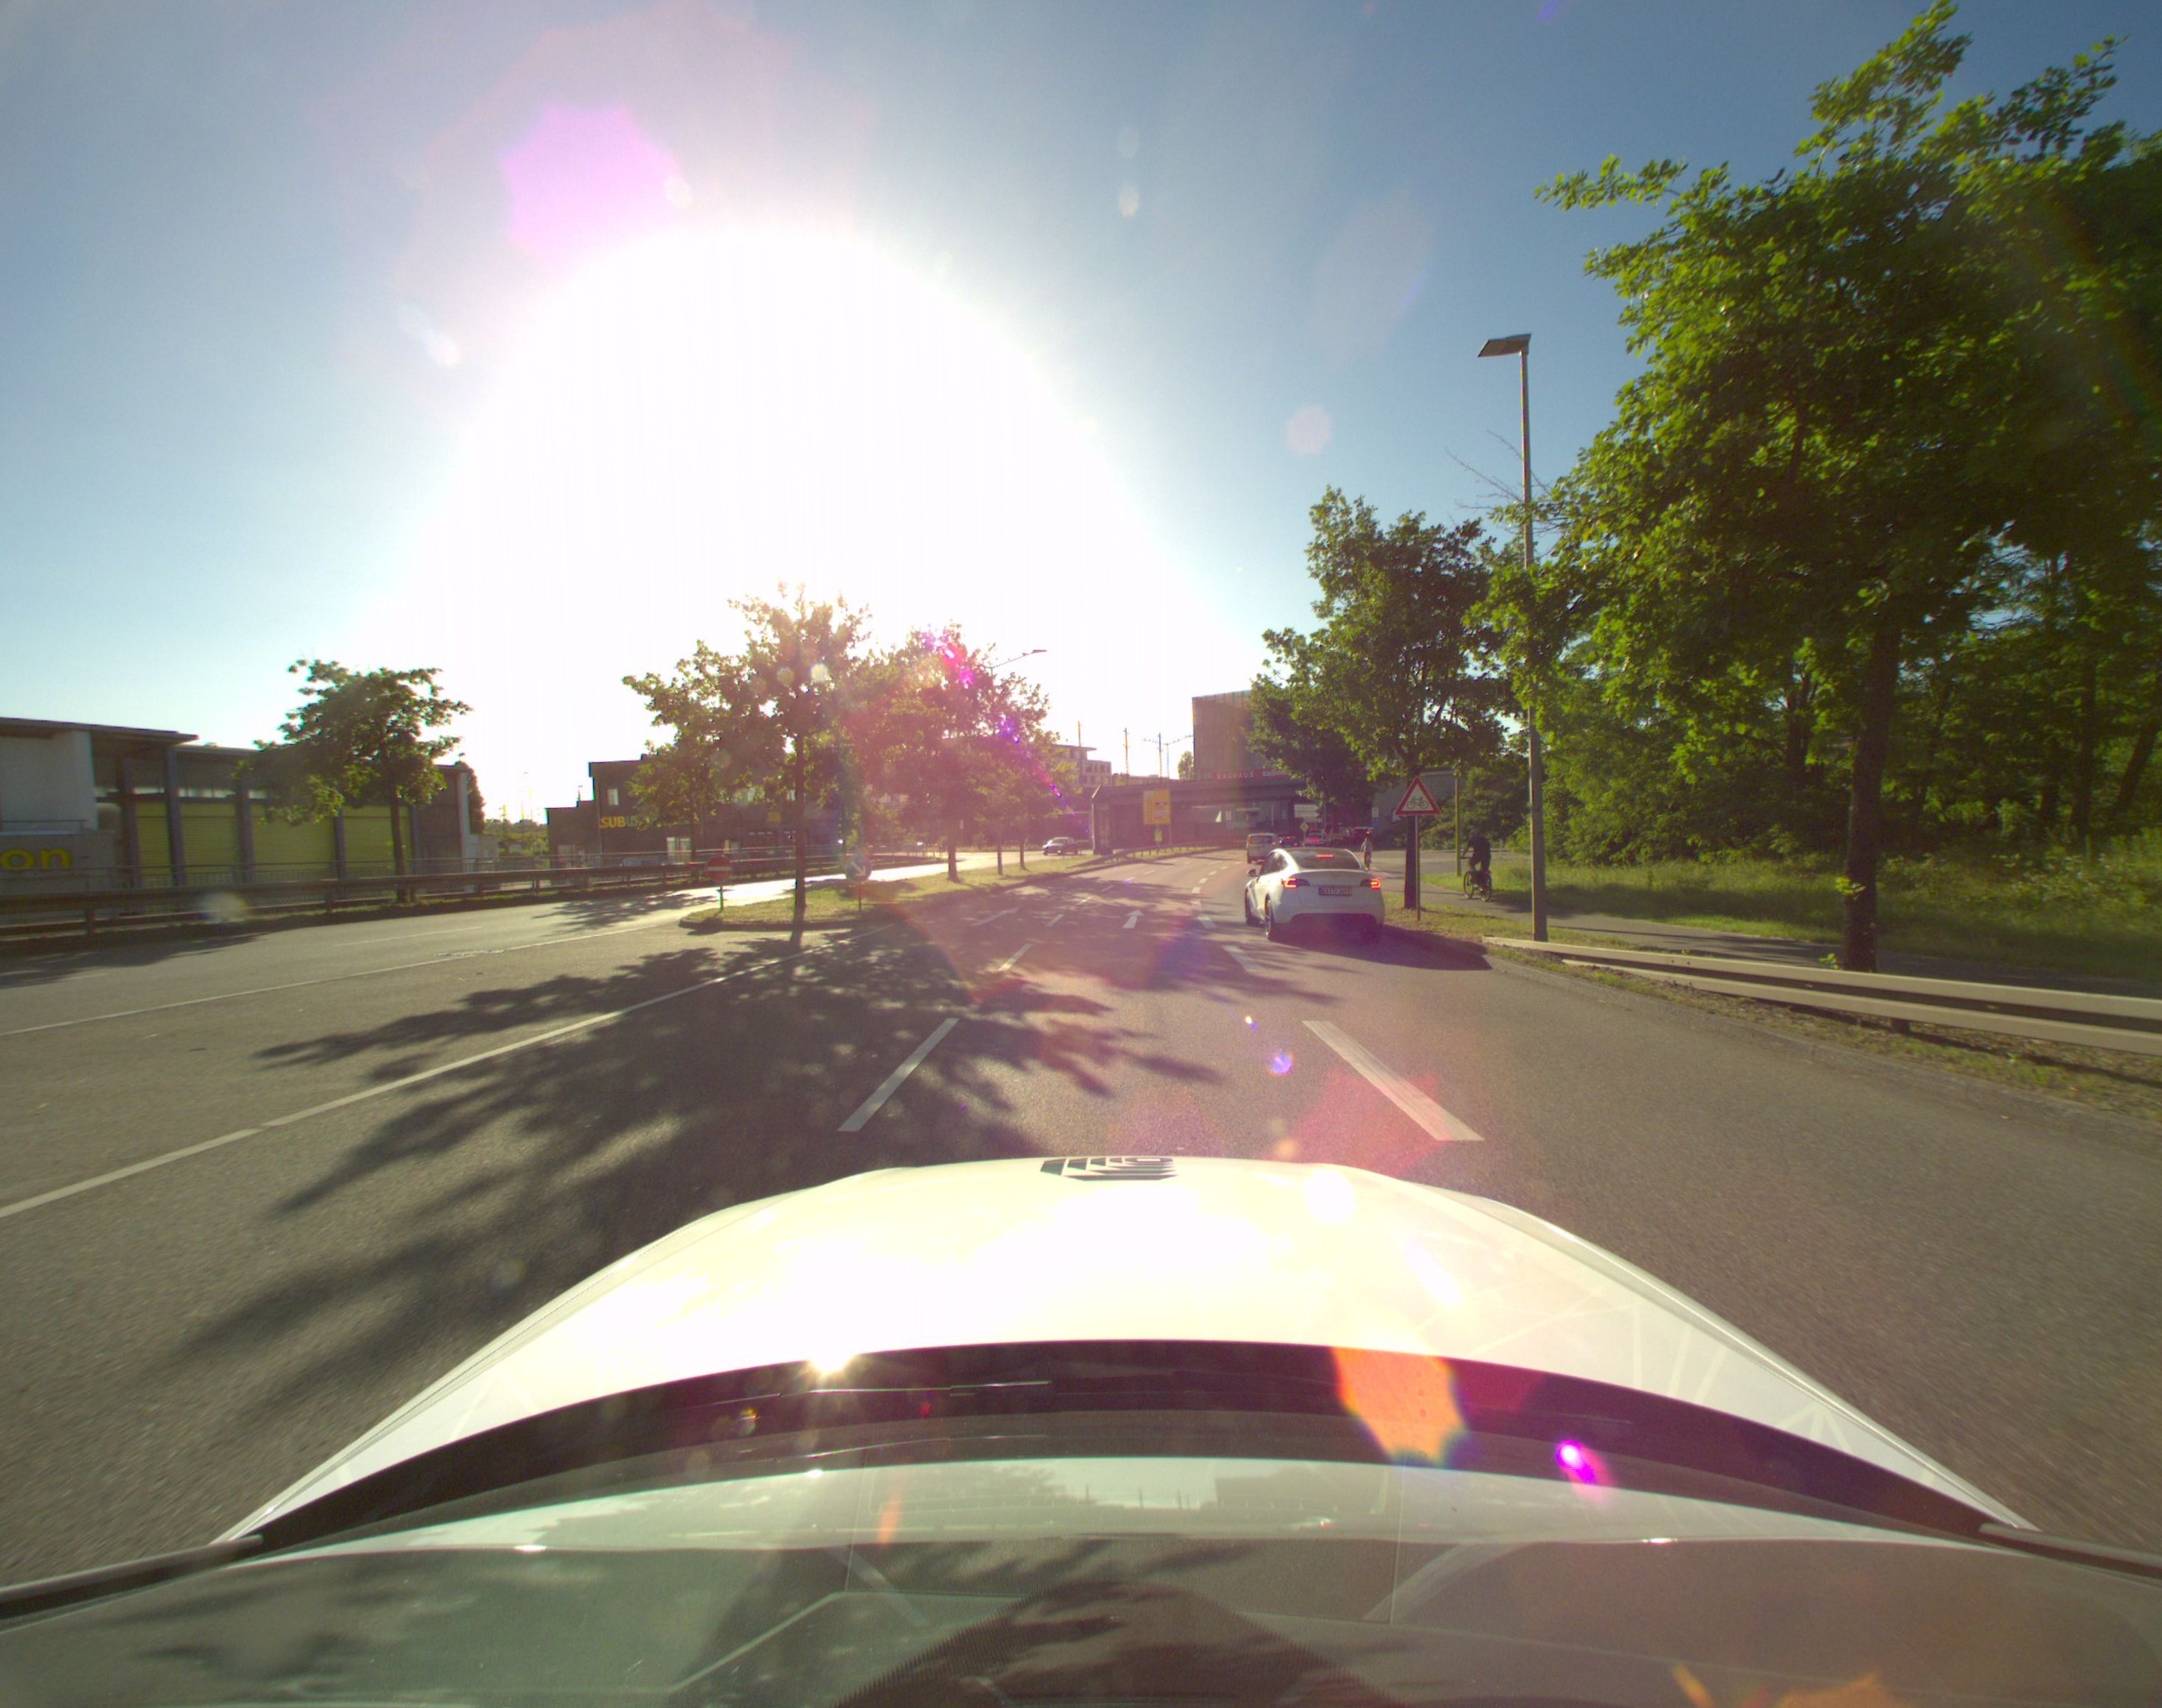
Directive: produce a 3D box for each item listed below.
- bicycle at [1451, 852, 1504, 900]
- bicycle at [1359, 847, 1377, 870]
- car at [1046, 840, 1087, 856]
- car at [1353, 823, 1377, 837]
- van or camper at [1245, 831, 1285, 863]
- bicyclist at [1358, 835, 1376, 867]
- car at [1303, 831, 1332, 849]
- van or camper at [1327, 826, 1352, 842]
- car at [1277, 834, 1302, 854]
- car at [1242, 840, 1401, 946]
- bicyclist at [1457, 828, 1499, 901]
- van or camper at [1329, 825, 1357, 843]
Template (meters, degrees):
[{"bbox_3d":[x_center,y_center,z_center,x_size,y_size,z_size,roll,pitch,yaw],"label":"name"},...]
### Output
[{"bbox_3d":[10.078,0.532,20.765,0.690,1.095,2.125,-3,1,12],"label":"bicycle"},{"bbox_3d":[15.019,0.228,42.717,0.737,1.112,2.463,-3,1,17],"label":"bicycle"},{"bbox_3d":[-1.183,-0.548,69.520,1.784,1.310,4.641,0,1,22],"label":"car"},{"bbox_3d":[32.653,-2.775,93.442,1.691,1.522,3.767,0,2,34],"label":"car"},{"bbox_3d":[11.903,-0.483,52.551,1.942,1.883,4.904,-1,2,19],"label":"van or camper"},{"bbox_3d":[14.994,-0.147,42.709,0.740,1.619,0.917,-3,0,17],"label":"bicyclist"},{"bbox_3d":[21.680,-1.298,74.451,1.747,1.475,4.315,-1,2,27],"label":"car"},{"bbox_3d":[29.832,-2.301,93.937,1.737,1.813,3.985,0,2,33],"label":"van or camper"},{"bbox_3d":[16.617,-0.782,64.851,1.591,1.434,3.697,0,3,19],"label":"car"},{"bbox_3d":[4.251,0.623,15.136,1.905,1.641,4.415,1,0,4],"label":"car"},{"bbox_3d":[10.011,0.255,20.572,0.670,1.776,0.951,-3,0,12],"label":"bicyclist"},{"bbox_3d":[27.644,-2.088,85.803,1.808,1.790,4.574,0,2,30],"label":"van or camper"}]
